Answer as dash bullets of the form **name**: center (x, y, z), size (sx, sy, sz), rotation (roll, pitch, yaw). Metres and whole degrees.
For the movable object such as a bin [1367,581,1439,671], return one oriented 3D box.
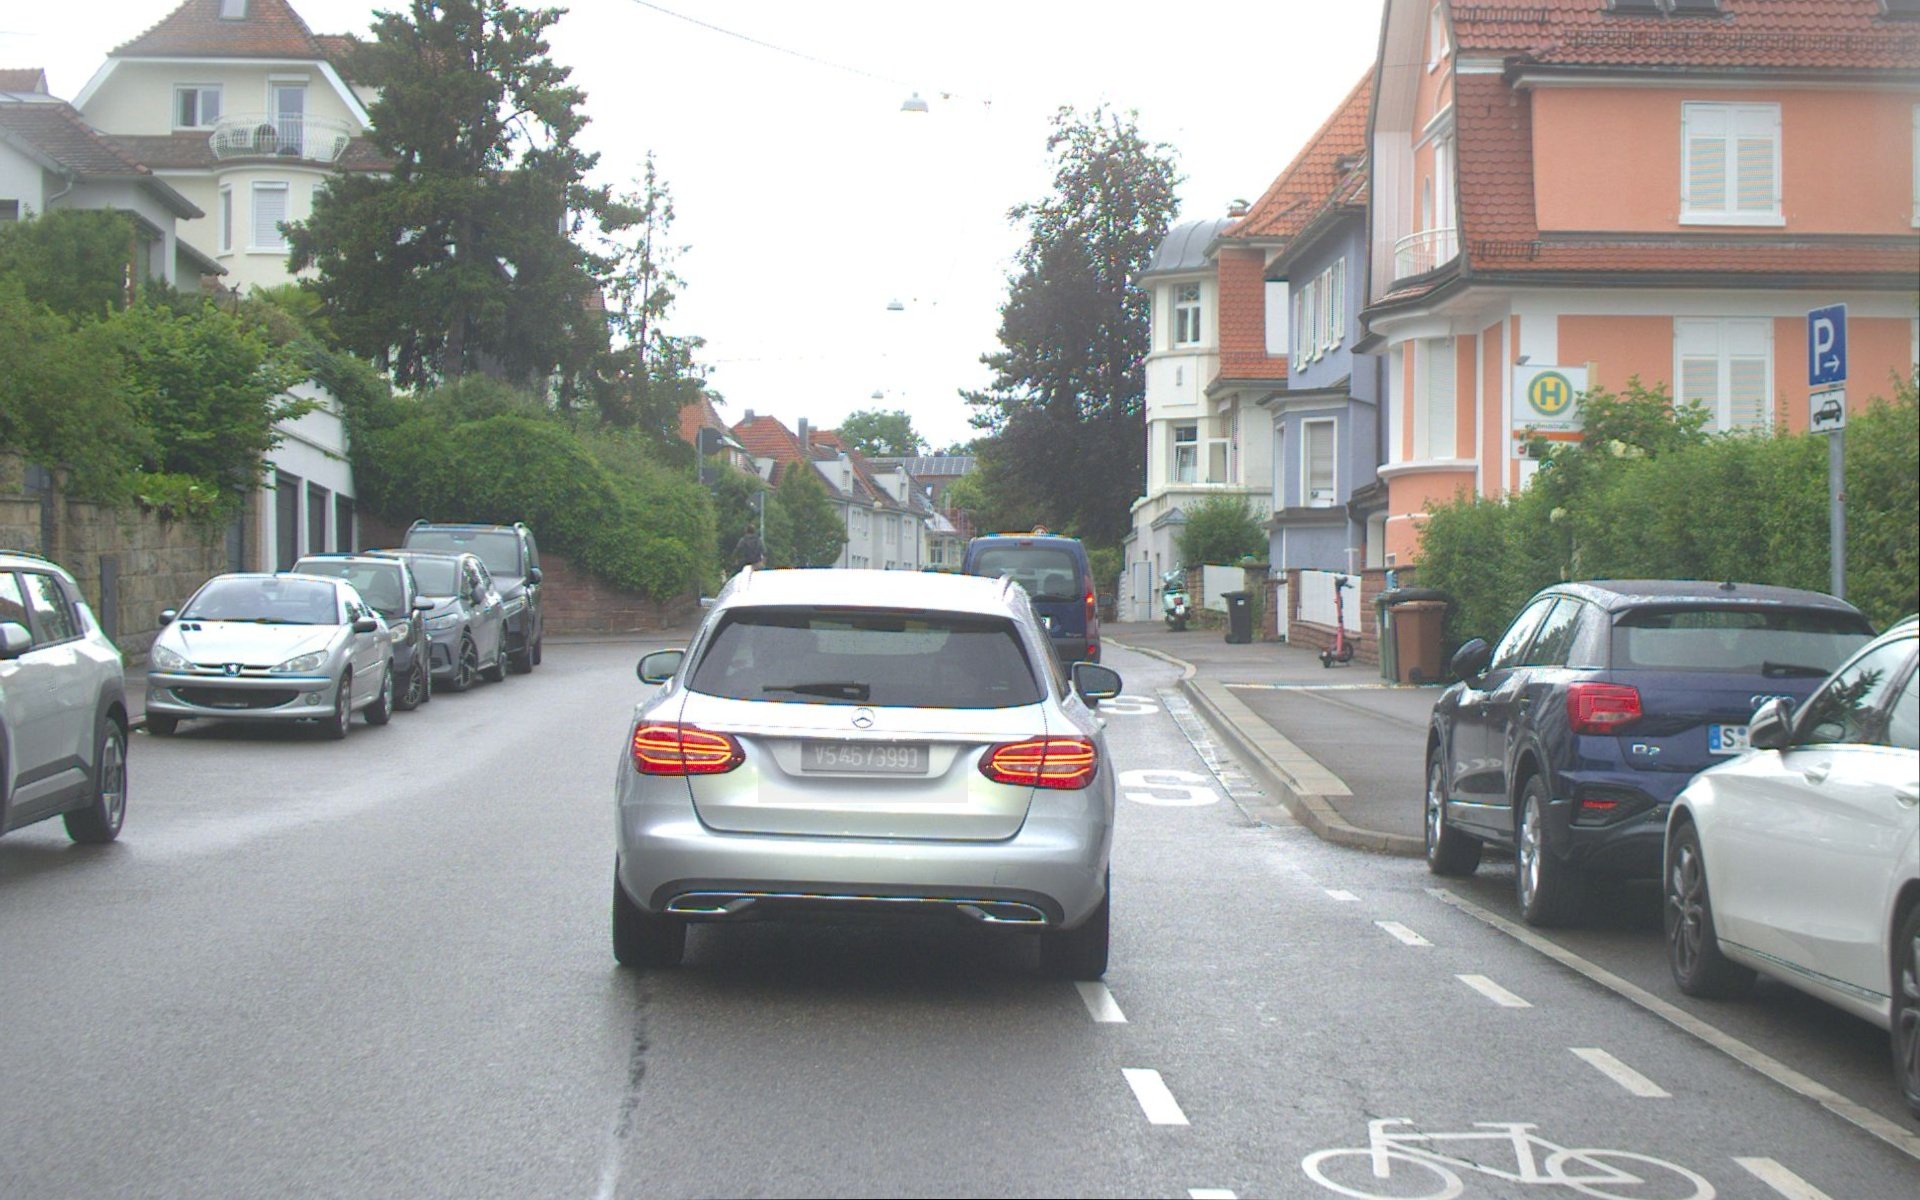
- **movable object such as a bin**: center (5.231, 0.307, 40.618), size (0.711, 1.026, 0.757), rotation (-1, 1, -2)

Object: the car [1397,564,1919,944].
- **car**: center (3.288, 0.615, 16.226), size (1.754, 1.525, 4.206), rotation (1, 1, -2)

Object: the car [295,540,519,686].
- **car**: center (-6.247, 0.104, 39.258), size (1.898, 1.510, 4.343), rotation (2, 1, -1)

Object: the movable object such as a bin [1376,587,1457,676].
- **movable object such as a bin**: center (5.133, 0.350, 38.667), size (0.569, 0.965, 0.670), rotation (1, 1, -33)

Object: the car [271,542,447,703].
- **car**: center (-6.075, 0.194, 34.992), size (1.496, 1.518, 3.160), rotation (1, 1, -5)

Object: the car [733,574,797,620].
- **car**: center (-6.740, -0.114, 119.116), size (2.117, 1.466, 4.017), rotation (1, 1, -2)

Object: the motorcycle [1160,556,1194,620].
- **motorcycle**: center (4.407, -0.264, 69.916), size (0.582, 1.257, 2.331), rotation (-1, 1, 2)

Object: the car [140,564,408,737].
- **car**: center (-5.905, 0.392, 29.978), size (1.609, 1.333, 3.841), rotation (1, 1, -1)

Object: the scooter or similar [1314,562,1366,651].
- **scooter or similar**: center (5.346, 0.085, 48.291), size (0.693, 1.220, 1.299), rotation (1, 1, 7)

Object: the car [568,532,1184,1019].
- **car**: center (-0.270, 0.538, 13.440), size (1.982, 1.548, 4.298), rotation (2, 1, 0)

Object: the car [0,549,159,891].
- **car**: center (-5.410, 0.535, 17.202), size (1.898, 1.562, 4.238), rotation (0, 1, -1)

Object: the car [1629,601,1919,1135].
- **car**: center (3.483, 0.768, 10.769), size (1.713, 1.400, 4.608), rotation (1, 1, -2)

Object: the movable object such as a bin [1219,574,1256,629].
- **movable object such as a bin**: center (4.854, 0.021, 60.188), size (0.549, 0.933, 0.634), rotation (-2, 1, -1)

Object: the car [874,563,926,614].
- **car**: center (-3.017, -0.607, 171.727), size (2.466, 2.392, 4.000), rotation (-2, 1, -1)

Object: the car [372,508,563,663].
- **car**: center (-6.401, -0.228, 45.268), size (2.129, 1.853, 5.595), rotation (1, 1, -5)

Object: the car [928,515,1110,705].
- **car**: center (0.672, 0.060, 38.345), size (1.824, 1.876, 4.095), rotation (-3, 2, 1)
